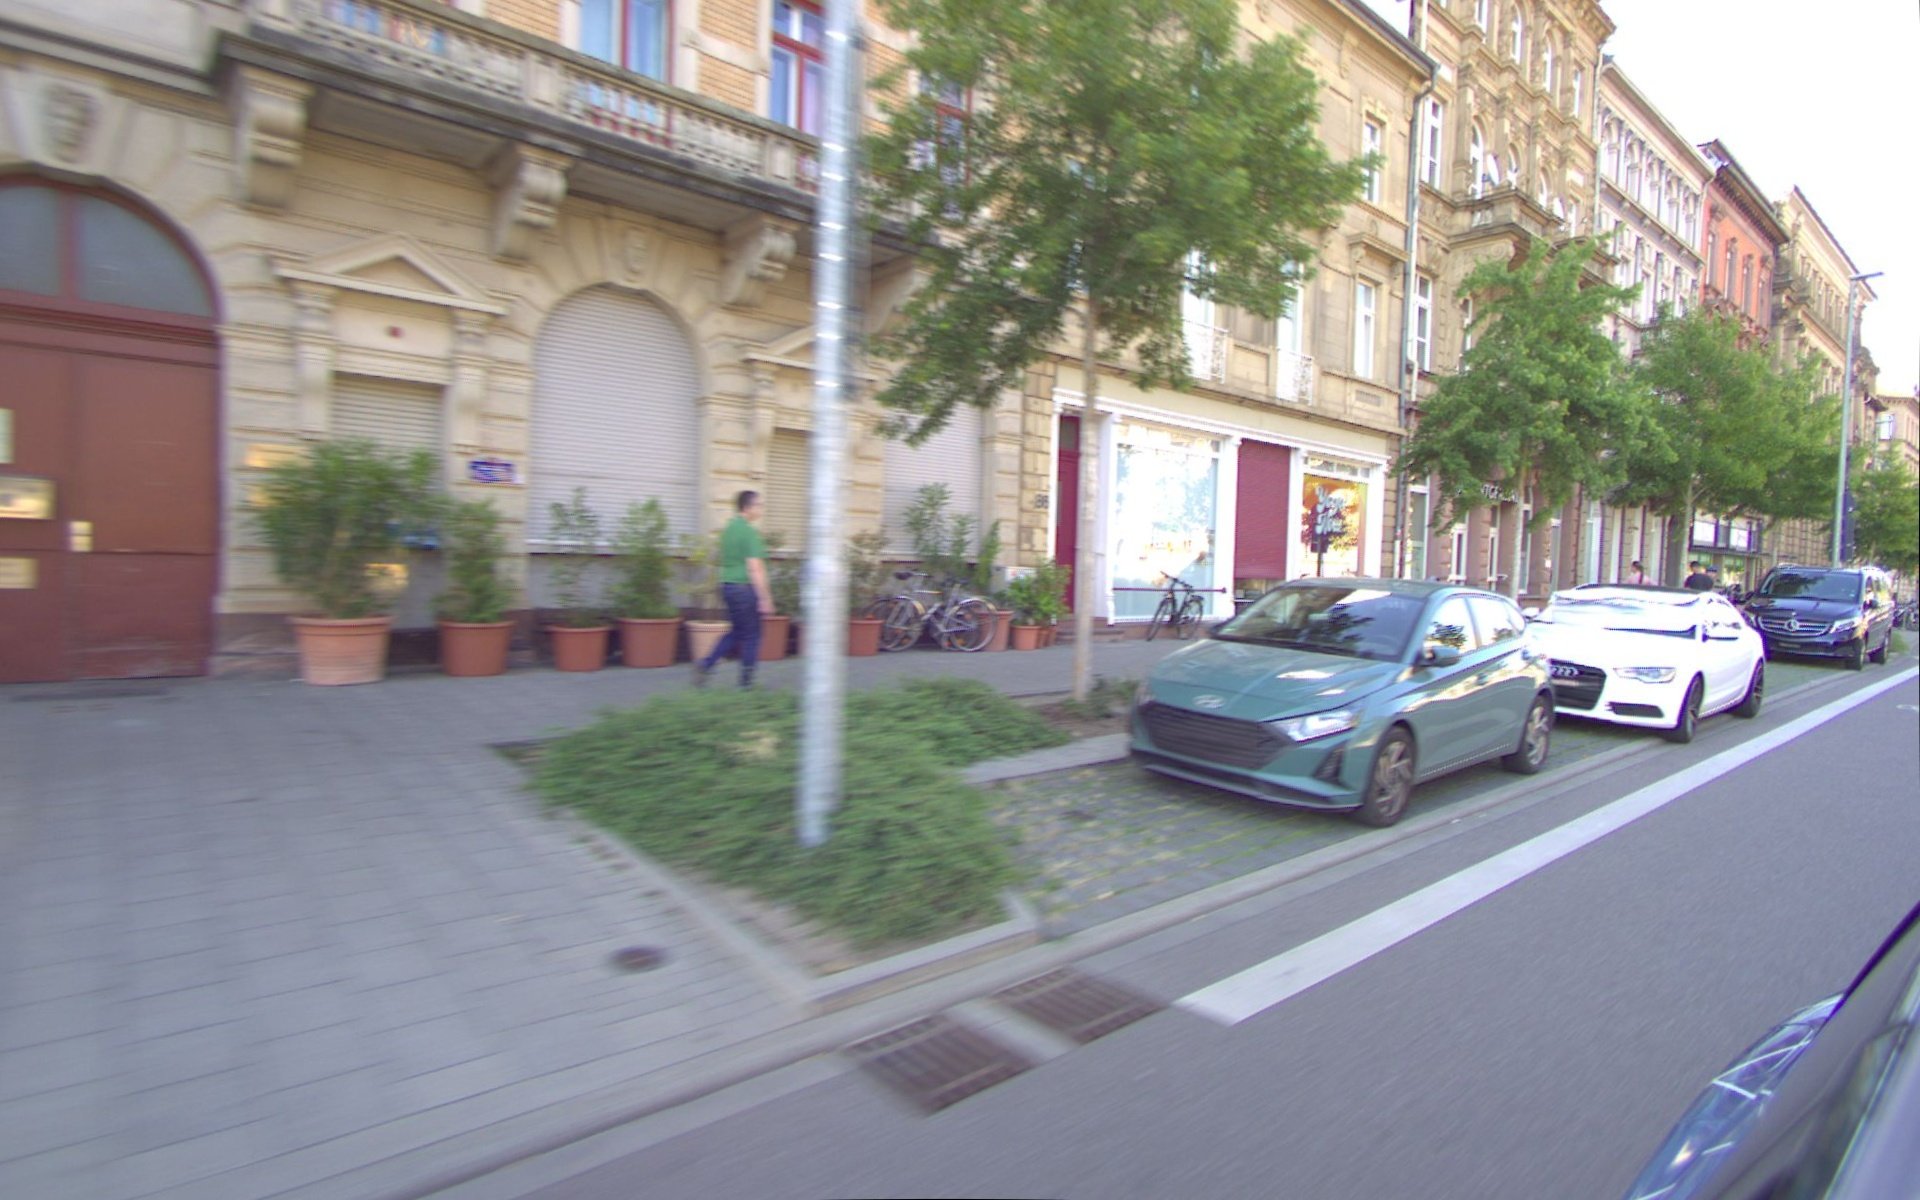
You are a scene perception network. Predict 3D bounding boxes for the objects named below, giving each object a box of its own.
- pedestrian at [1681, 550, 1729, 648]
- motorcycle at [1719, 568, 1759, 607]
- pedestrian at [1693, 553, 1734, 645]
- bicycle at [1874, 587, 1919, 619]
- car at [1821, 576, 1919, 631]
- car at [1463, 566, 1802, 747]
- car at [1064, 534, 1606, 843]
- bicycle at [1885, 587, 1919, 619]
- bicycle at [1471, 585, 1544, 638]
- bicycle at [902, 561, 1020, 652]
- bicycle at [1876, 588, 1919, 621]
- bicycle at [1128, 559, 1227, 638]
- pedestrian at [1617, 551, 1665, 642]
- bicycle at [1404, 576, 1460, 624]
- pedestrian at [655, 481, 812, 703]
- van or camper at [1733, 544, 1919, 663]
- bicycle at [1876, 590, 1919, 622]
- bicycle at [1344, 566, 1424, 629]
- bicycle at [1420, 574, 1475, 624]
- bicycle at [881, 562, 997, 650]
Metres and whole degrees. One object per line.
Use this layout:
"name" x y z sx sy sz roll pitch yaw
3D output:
"pedestrian" 13.917 -0.027 18.912 0.495 1.800 0.473 0 2 -21
"motorcycle" 30.023 -0.496 39.006 2.017 1.439 0.788 0 3 -41
"pedestrian" 14.586 -0.026 19.601 0.482 1.749 0.505 0 2 -42
"bicycle" 35.463 0.106 37.921 0.521 1.132 1.693 0 3 -38
"car" 28.729 0.086 31.784 4.658 1.502 1.695 0 5 -40
"car" 7.621 0.450 11.216 5.163 1.471 1.852 -1 5 -42
"car" 2.925 0.419 7.440 4.221 1.583 1.853 0 5 -41
"bicycle" 35.204 0.127 37.251 0.566 1.132 1.584 0 3 -38
"bicycle" 10.214 0.198 18.869 1.653 0.927 0.656 -1 2 -41
"bicycle" 0.036 0.067 12.980 1.647 1.093 0.385 0 2 -41
"bicycle" 34.194 0.160 36.454 0.521 1.132 1.693 0 3 -38
"bicycle" 3.572 -0.037 16.510 1.744 1.210 0.719 -1 3 -45
"pedestrian" 13.381 -0.076 19.888 0.566 1.749 0.482 1 1 4
"bicycle" 10.752 -0.011 23.035 2.037 1.045 0.343 -1 2 -41
"pedestrian" -1.952 -0.089 8.718 1.053 1.776 0.749 0 4 -41
"van or camper" 17.338 0.004 20.100 5.391 1.995 1.966 0 5 -41
"bicycle" 33.259 0.230 35.461 0.469 1.064 1.614 0 3 -38
"bicycle" 8.823 -0.072 21.024 2.037 1.235 0.706 -1 2 -41
"bicycle" 10.979 -0.044 22.770 2.037 1.078 0.325 -1 2 -41
"bicycle" -0.254 0.063 13.241 1.647 1.093 0.385 0 2 -41
